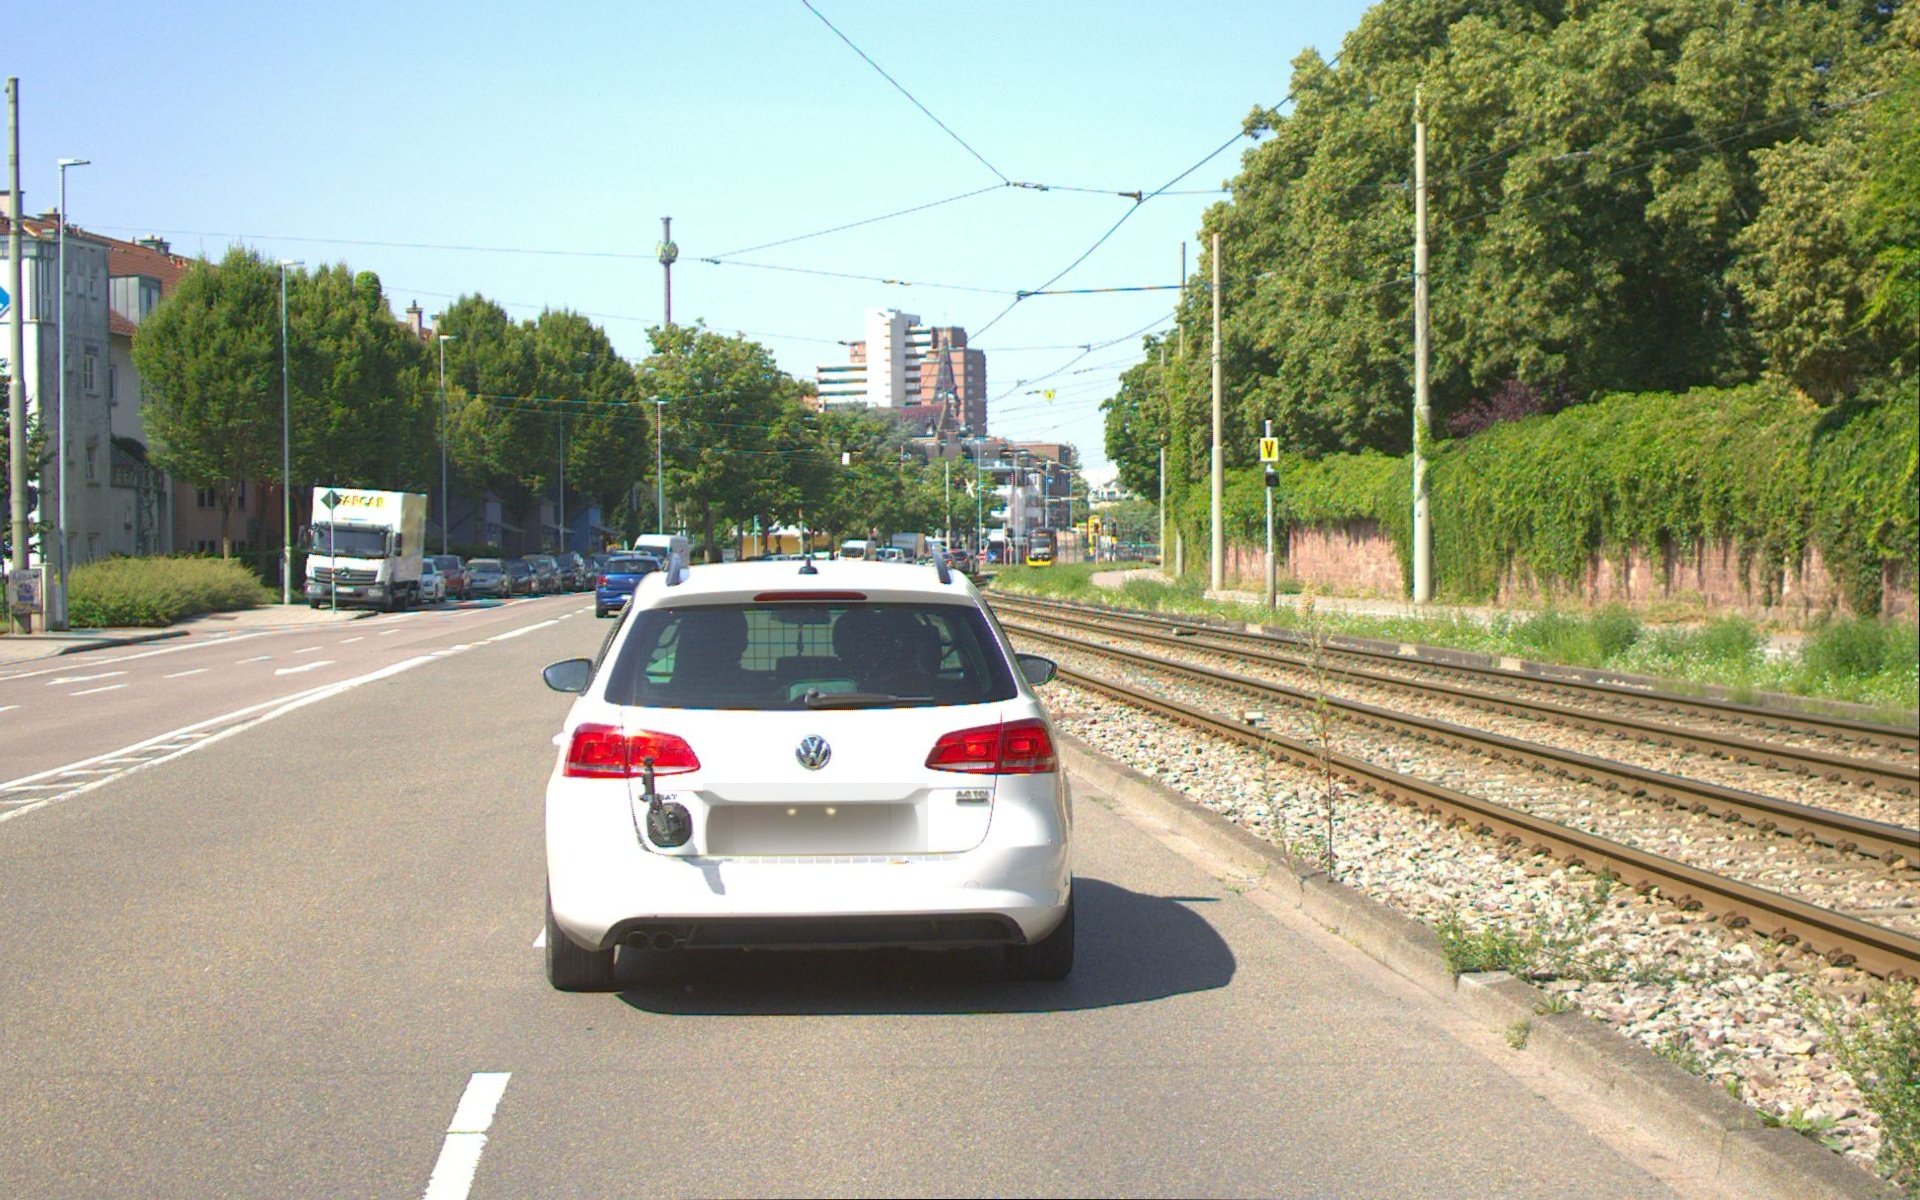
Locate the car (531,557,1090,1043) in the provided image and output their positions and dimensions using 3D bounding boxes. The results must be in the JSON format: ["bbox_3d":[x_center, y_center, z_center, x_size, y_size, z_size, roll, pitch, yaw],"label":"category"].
[{"bbox_3d":[-0.564,0.586,12.734,1.691,1.446,4.459,1,1,-3],"label":"car"}]

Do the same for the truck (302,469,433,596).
[{"bbox_3d":[-17.309,-1.960,100.894,2.666,3.518,8.591,1,1,-3],"label":"truck"}]

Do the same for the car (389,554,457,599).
[{"bbox_3d":[-17.799,-0.794,114.164,1.757,1.424,4.282,1,1,-3],"label":"car"}]

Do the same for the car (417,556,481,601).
[{"bbox_3d":[-17.982,-0.781,121.088,1.730,1.546,4.319,1,1,-2],"label":"car"}]

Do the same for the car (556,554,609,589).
[{"bbox_3d":[-17.054,-1.297,155.398,1.690,1.469,4.048,2,1,3],"label":"car"}]

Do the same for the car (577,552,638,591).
[{"bbox_3d":[-16.426,-1.353,160.526,1.801,1.719,4.908,3,1,6],"label":"car"}]

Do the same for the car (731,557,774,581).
[{"bbox_3d":[-12.334,-1.834,204.702,1.700,1.412,3.999,0,1,9],"label":"car"}]

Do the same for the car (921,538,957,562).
[{"bbox_3d":[-1.268,-3.026,207.392,1.801,1.455,3.999,1,1,5],"label":"car"}]

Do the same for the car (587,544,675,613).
[{"bbox_3d":[-7.688,-0.524,80.604,1.800,1.502,4.001,0,2,-2],"label":"car"}]

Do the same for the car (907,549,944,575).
[{"bbox_3d":[-2.028,-2.247,201.732,1.801,1.502,3.999,1,1,5],"label":"car"}]

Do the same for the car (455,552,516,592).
[{"bbox_3d":[-18.148,-1.065,131.730,1.780,1.478,4.857,1,0,-2],"label":"car"}]

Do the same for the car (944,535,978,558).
[{"bbox_3d":[0.071,-3.352,215.665,1.801,1.455,3.999,0,1,5],"label":"car"}]

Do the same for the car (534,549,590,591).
[{"bbox_3d":[-17.339,-1.316,149.922,1.769,1.717,4.870,2,1,0],"label":"car"}]

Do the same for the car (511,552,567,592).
[{"bbox_3d":[-17.660,-1.203,144.388,1.717,1.619,4.312,1,1,1],"label":"car"}]

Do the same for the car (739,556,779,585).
[{"bbox_3d":[-10.579,-1.572,181.212,1.659,1.415,4.309,-2,1,2],"label":"car"}]
